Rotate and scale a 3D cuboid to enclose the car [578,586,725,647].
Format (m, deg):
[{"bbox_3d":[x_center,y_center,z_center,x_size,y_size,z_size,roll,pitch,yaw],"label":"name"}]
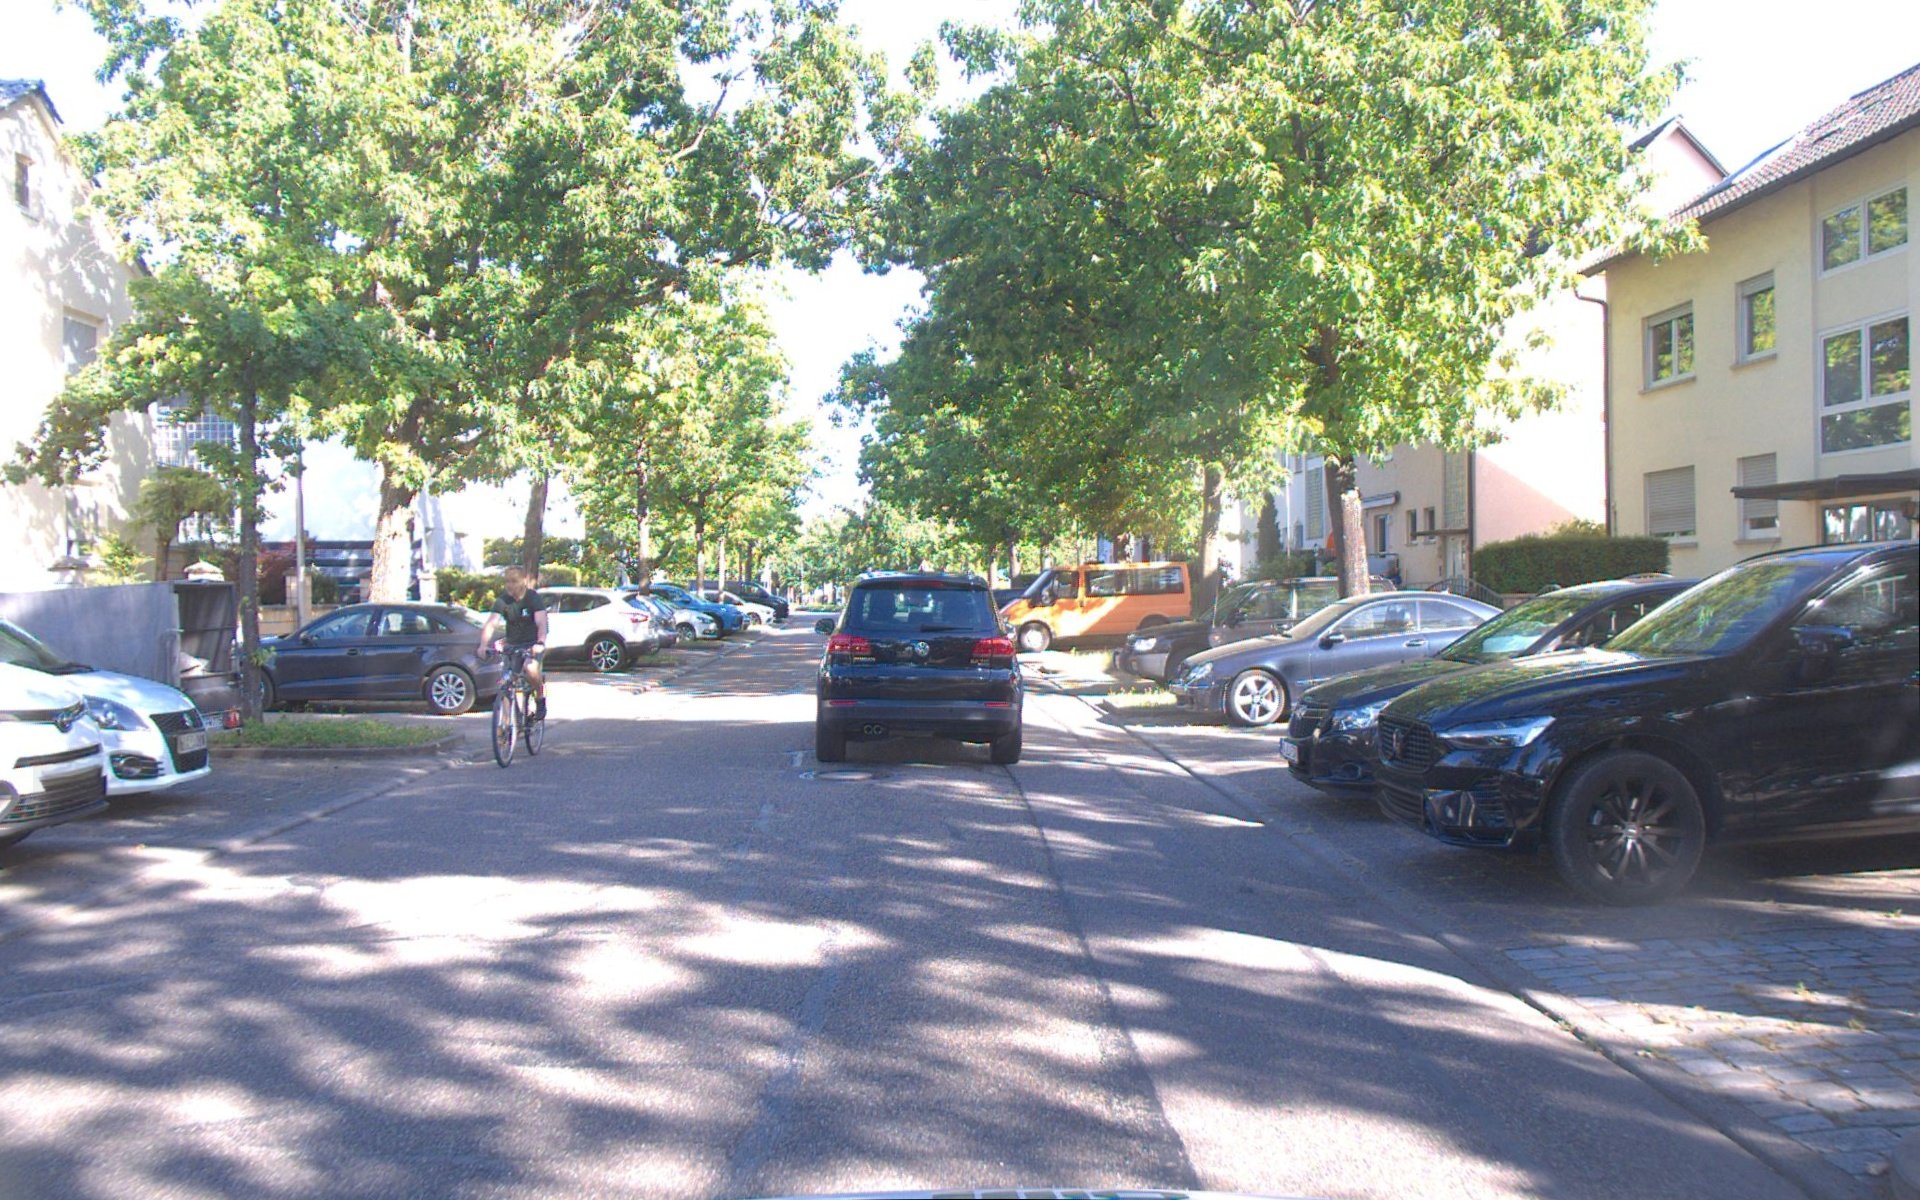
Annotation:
[{"bbox_3d":[-8.829,0.478,47.574,3.907,1.623,1.856,-1,-1,-3],"label":"car"}]

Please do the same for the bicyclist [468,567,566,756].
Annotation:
[{"bbox_3d":[-4.195,0.561,15.701,0.584,1.703,0.975,-3,0,-1],"label":"bicyclist"}]

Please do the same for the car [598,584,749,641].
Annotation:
[{"bbox_3d":[-8.969,0.387,52.066,4.433,1.660,1.936,-1,-1,-3],"label":"car"}]

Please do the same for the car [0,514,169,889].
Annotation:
[{"bbox_3d":[-7.145,0.589,9.560,4.153,1.978,1.998,-1,-1,-5],"label":"car"}]

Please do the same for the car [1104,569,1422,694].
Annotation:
[{"bbox_3d":[4.386,0.434,24.348,4.252,1.587,1.866,-2,0,-3],"label":"car"}]

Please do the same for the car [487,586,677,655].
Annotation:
[{"bbox_3d":[-8.580,0.463,37.795,3.954,1.448,1.808,1,0,-4],"label":"car"}]

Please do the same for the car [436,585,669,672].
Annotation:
[{"bbox_3d":[-7.919,0.535,32.429,4.102,1.594,1.791,1,0,-1],"label":"car"}]

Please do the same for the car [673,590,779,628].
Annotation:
[{"bbox_3d":[-9.657,0.361,68.568,4.191,1.504,1.767,0,0,-4],"label":"car"}]

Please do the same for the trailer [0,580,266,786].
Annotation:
[{"bbox_3d":[-7.548,0.690,14.580,2.189,1.703,1.475,-1,1,2],"label":"trailer"}]

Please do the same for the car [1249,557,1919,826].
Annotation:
[{"bbox_3d":[4.369,0.576,11.728,4.234,1.556,1.840,-3,1,-3],"label":"car"}]

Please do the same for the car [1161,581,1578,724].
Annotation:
[{"bbox_3d":[4.601,0.572,19.020,4.337,1.354,1.690,-3,0,0],"label":"car"}]

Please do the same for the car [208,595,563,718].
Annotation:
[{"bbox_3d":[-7.571,0.718,22.096,4.126,1.497,1.690,-1,0,-3],"label":"car"}]

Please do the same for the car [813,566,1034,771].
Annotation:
[{"bbox_3d":[-0.322,0.565,15.607,1.800,1.665,3.957,1,0,-1],"label":"car"}]

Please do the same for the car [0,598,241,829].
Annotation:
[{"bbox_3d":[-7.578,0.801,12.042,3.907,1.543,1.690,-1,0,-3],"label":"car"}]

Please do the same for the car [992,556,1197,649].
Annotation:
[{"bbox_3d":[3.214,0.056,40.252,4.722,2.120,2.085,-1,0,-3],"label":"car"}]

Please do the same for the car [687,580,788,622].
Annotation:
[{"bbox_3d":[-10.600,0.041,79.162,4.686,1.950,2.016,0,0,-6],"label":"car"}]

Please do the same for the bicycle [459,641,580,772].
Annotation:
[{"bbox_3d":[-4.168,0.976,15.783,0.584,1.077,1.986,-3,0,-1],"label":"bicycle"}]

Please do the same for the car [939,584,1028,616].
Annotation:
[{"bbox_3d":[1.146,-0.001,80.758,4.192,1.439,1.795,-2,0,-4],"label":"car"}]

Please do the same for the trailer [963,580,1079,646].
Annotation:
[{"bbox_3d":[1.635,0.341,44.796,2.891,1.693,1.612,-1,0,-9],"label":"trailer"}]

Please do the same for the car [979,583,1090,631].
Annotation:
[{"bbox_3d":[2.654,0.231,59.218,3.804,1.542,1.661,-1,3,-3],"label":"car"}]

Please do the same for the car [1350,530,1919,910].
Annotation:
[{"bbox_3d":[4.554,0.500,8.734,4.482,1.675,1.837,-3,0,-2],"label":"car"}]

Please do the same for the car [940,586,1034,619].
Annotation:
[{"bbox_3d":[1.256,0.112,78.033,4.260,1.386,1.872,-2,0,-4],"label":"car"}]
